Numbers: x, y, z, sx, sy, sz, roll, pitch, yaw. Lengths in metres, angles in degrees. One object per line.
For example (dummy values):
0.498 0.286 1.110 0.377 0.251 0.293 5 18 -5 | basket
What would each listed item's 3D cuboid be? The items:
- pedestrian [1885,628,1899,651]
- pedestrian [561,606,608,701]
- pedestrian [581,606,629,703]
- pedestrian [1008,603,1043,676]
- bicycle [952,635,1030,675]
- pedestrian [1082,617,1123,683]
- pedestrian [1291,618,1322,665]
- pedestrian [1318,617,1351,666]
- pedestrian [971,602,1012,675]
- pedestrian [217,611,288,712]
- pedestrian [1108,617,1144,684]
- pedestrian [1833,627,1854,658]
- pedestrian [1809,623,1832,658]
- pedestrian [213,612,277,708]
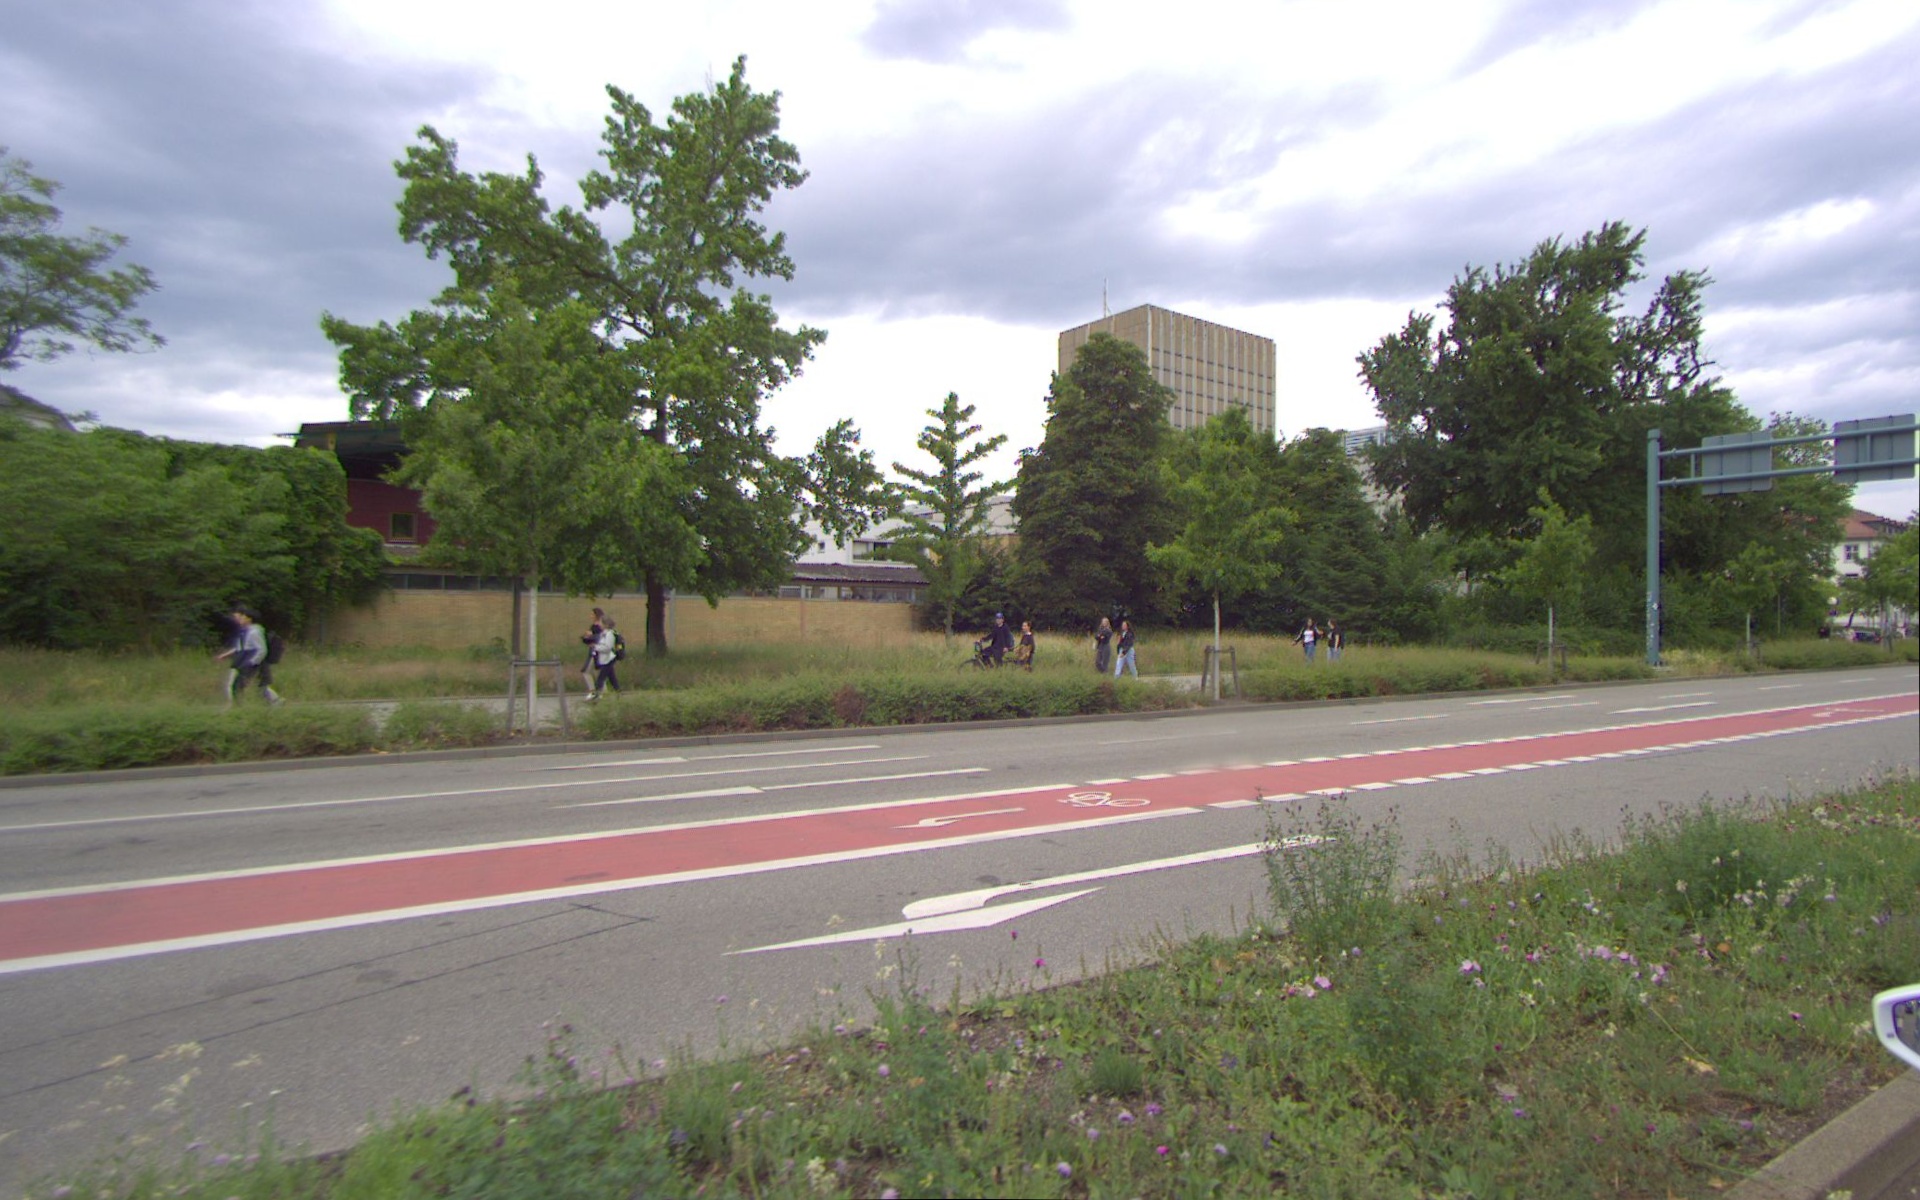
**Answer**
66.266 2.791 71.407 0.562 1.545 0.847 0 -5 34 | pedestrian
-7.053 0.998 18.875 0.752 1.734 0.576 0 -2 -29 | pedestrian
-6.492 0.985 18.346 0.737 1.718 0.619 0 -2 -29 | pedestrian
1.476 0.883 22.766 0.606 1.630 0.575 0 -2 -17 | pedestrian
0.724 1.260 23.260 1.687 0.899 0.660 0 -2 -18 | bicycle
3.708 1.301 26.168 0.761 1.694 0.701 1 -2 -38 | pedestrian
10.233 1.225 29.647 0.638 1.380 0.676 -2 -2 44 | pedestrian
10.723 1.186 28.753 0.638 1.376 0.707 -2 -2 44 | pedestrian
0.720 0.882 23.271 0.751 1.653 0.660 0 -2 -18 | pedestrian
-10.883 0.933 15.482 0.803 1.499 0.725 0 -2 -29 | pedestrian
4.217 1.279 25.517 0.714 1.682 0.581 1 -2 -38 | pedestrian
47.848 2.303 54.398 0.664 1.657 0.696 1 -2 -33 | pedestrian
43.670 2.035 50.969 0.809 1.752 0.617 1 -2 -33 | pedestrian
-11.519 0.959 16.204 0.752 1.499 0.633 0 -2 -29 | pedestrian
